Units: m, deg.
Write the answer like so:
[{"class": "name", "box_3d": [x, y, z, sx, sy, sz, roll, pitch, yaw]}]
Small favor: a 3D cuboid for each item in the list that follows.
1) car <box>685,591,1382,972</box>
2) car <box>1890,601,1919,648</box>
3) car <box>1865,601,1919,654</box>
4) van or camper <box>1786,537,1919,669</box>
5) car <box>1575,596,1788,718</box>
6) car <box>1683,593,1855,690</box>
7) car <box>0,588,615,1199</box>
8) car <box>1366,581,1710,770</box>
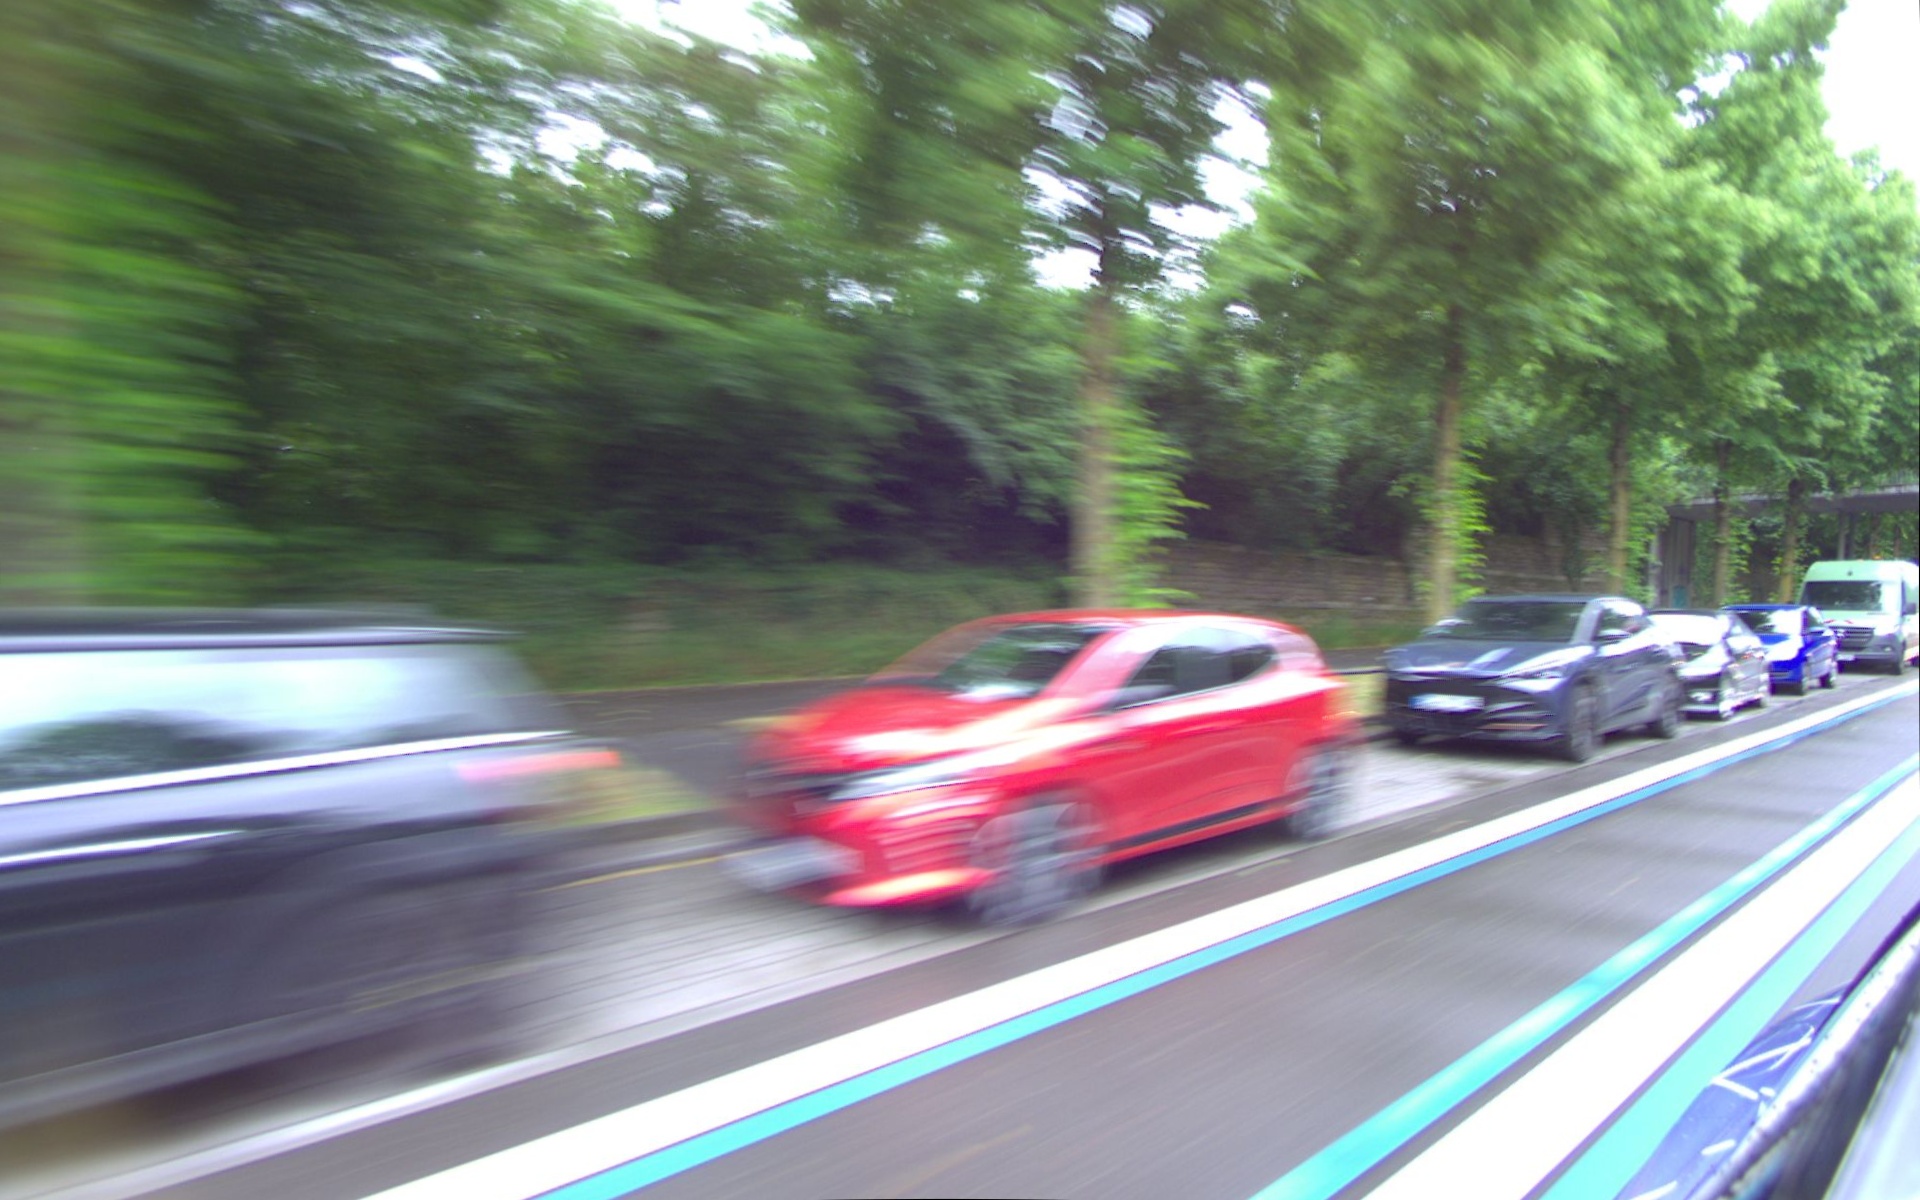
[{"class": "car", "box_3d": [0.670, 0.710, 5.912, 4.093, 1.471, 1.688, 0, -1, -41]}, {"class": "car", "box_3d": [31.325, 0.759, 32.443, 4.122, 1.434, 1.689, 0, 0, -40]}, {"class": "car", "box_3d": [27.473, 0.751, 28.997, 4.026, 1.434, 1.690, 0, 0, -39]}, {"class": "van or camper", "box_3d": [21.758, 0.081, 24.164, 6.780, 2.764, 2.045, 0, -1, -41]}, {"class": "car", "box_3d": [10.277, 0.705, 14.305, 4.076, 1.474, 1.687, 0, -1, -43]}, {"class": "car", "box_3d": [14.432, 0.669, 17.991, 3.767, 1.533, 1.689, 0, -1, -40]}, {"class": "car", "box_3d": [-3.060, 0.710, 2.781, 3.681, 1.471, 1.608, 0, -1, -41]}, {"class": "car", "box_3d": [6.266, 0.653, 10.754, 4.418, 1.610, 1.759, 0, -1, -40]}]
